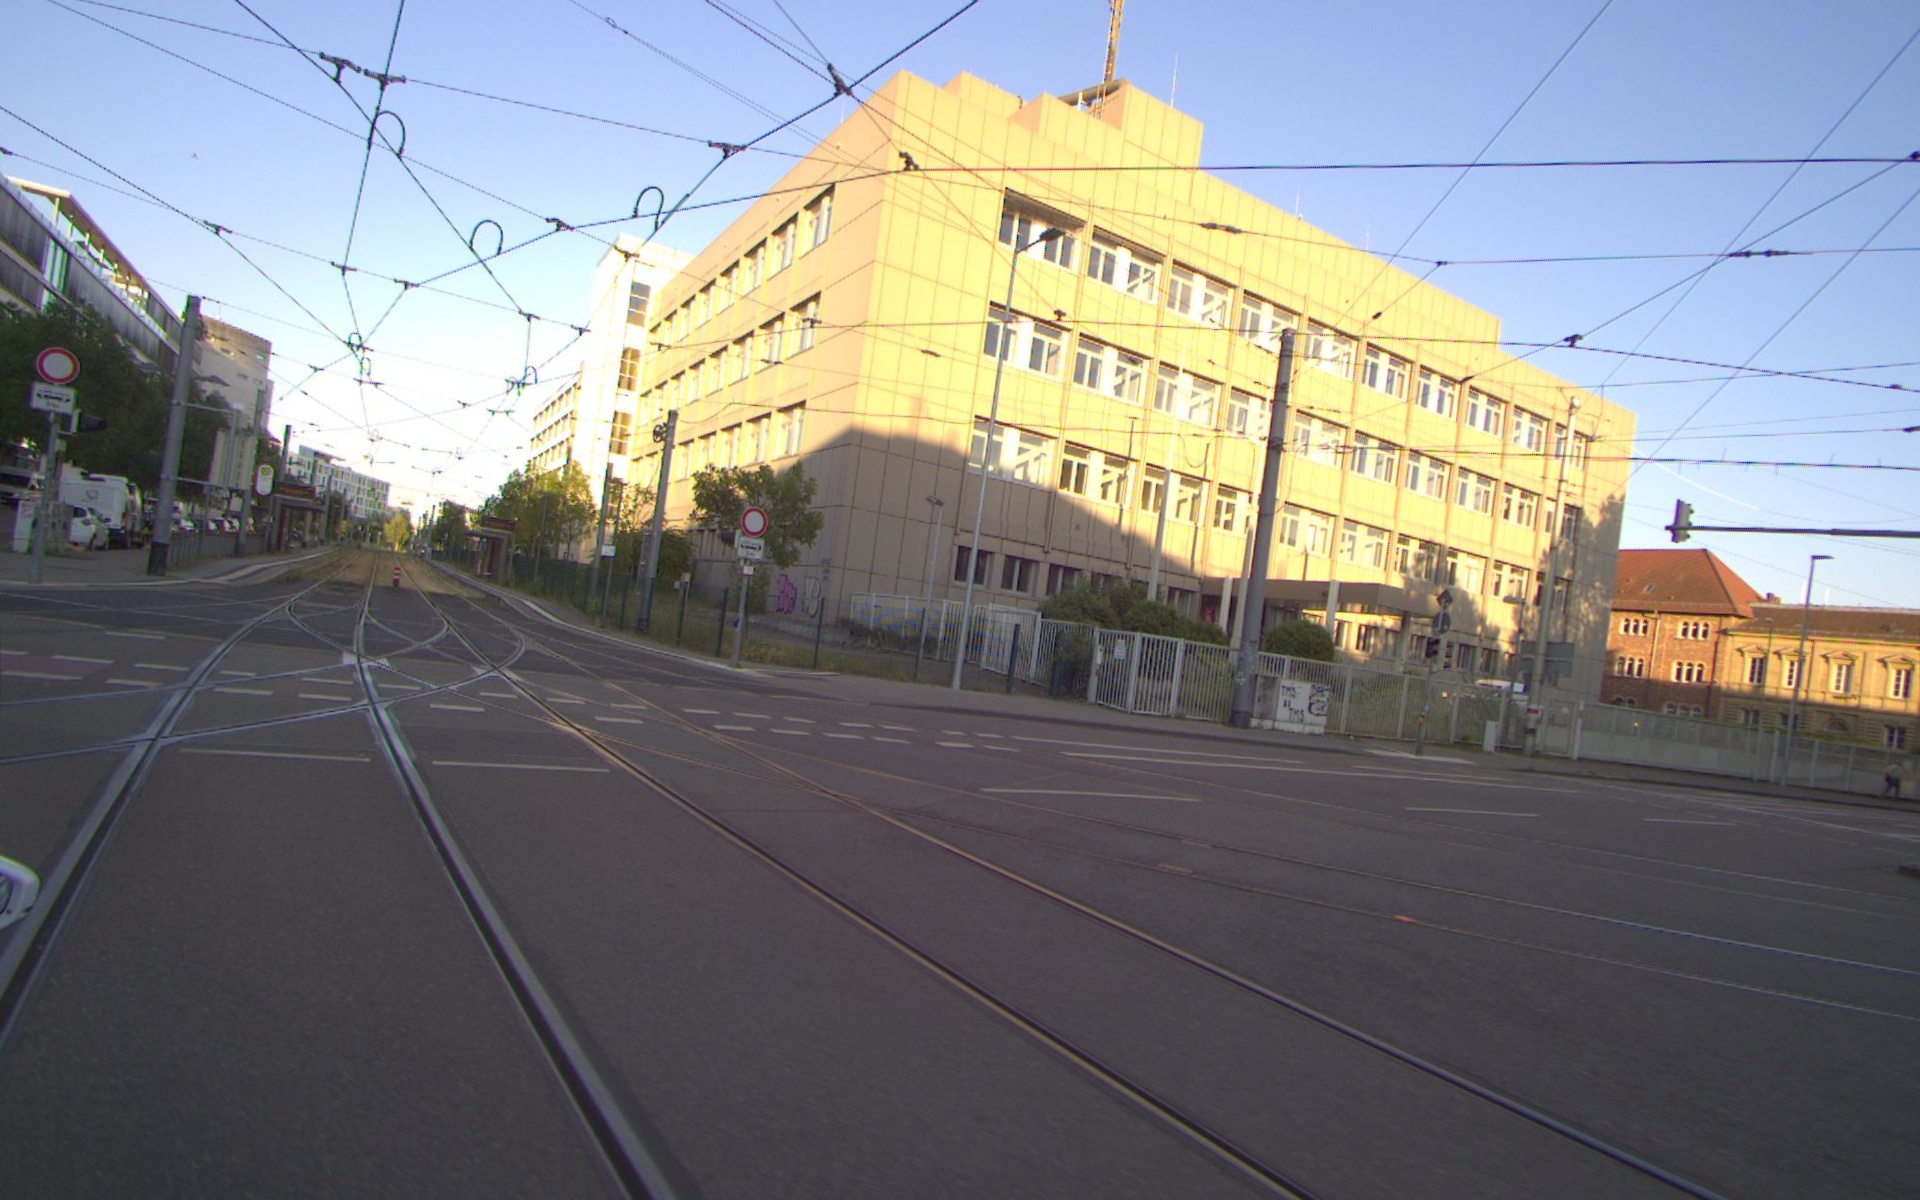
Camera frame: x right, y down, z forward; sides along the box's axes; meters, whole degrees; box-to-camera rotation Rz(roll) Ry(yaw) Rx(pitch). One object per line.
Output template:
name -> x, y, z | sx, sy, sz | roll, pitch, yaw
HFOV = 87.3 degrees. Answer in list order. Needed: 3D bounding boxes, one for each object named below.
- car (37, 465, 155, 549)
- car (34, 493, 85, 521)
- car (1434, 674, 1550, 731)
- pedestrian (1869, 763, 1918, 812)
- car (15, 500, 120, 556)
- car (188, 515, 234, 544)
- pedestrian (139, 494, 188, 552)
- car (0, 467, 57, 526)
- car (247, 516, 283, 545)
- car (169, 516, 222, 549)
car -> -32.242, -3.423, 37.769 | 2.447, 2.511, 5.755 | 9, -1, -34
car -> -63.306, -6.528, 70.772 | 1.671, 1.519, 4.207 | 9, -1, -30
car -> 24.281, 4.704, 45.887 | 5.042, 1.896, 2.258 | 9, -1, -30
pedestrian -> 36.863, 7.399, 39.745 | 0.868, 1.698, 1.063 | 8, -1, 17
car -> -29.167, -2.319, 33.011 | 1.671, 1.455, 4.093 | 9, -2, -30
car -> -46.038, -4.311, 61.882 | 1.671, 1.455, 4.093 | 9, -2, -30
pedestrian -> -31.202, -3.007, 39.428 | 0.968, 2.054, 1.041 | 8, -1, 32
car -> -58.792, -6.468, 62.698 | 2.186, 3.188, 6.096 | 8, -1, -30
car -> -56.445, -5.641, 81.763 | 1.981, 2.037, 3.966 | 9, -1, -32
car -> -41.496, -3.671, 54.704 | 1.671, 1.455, 4.093 | 9, -2, -30
